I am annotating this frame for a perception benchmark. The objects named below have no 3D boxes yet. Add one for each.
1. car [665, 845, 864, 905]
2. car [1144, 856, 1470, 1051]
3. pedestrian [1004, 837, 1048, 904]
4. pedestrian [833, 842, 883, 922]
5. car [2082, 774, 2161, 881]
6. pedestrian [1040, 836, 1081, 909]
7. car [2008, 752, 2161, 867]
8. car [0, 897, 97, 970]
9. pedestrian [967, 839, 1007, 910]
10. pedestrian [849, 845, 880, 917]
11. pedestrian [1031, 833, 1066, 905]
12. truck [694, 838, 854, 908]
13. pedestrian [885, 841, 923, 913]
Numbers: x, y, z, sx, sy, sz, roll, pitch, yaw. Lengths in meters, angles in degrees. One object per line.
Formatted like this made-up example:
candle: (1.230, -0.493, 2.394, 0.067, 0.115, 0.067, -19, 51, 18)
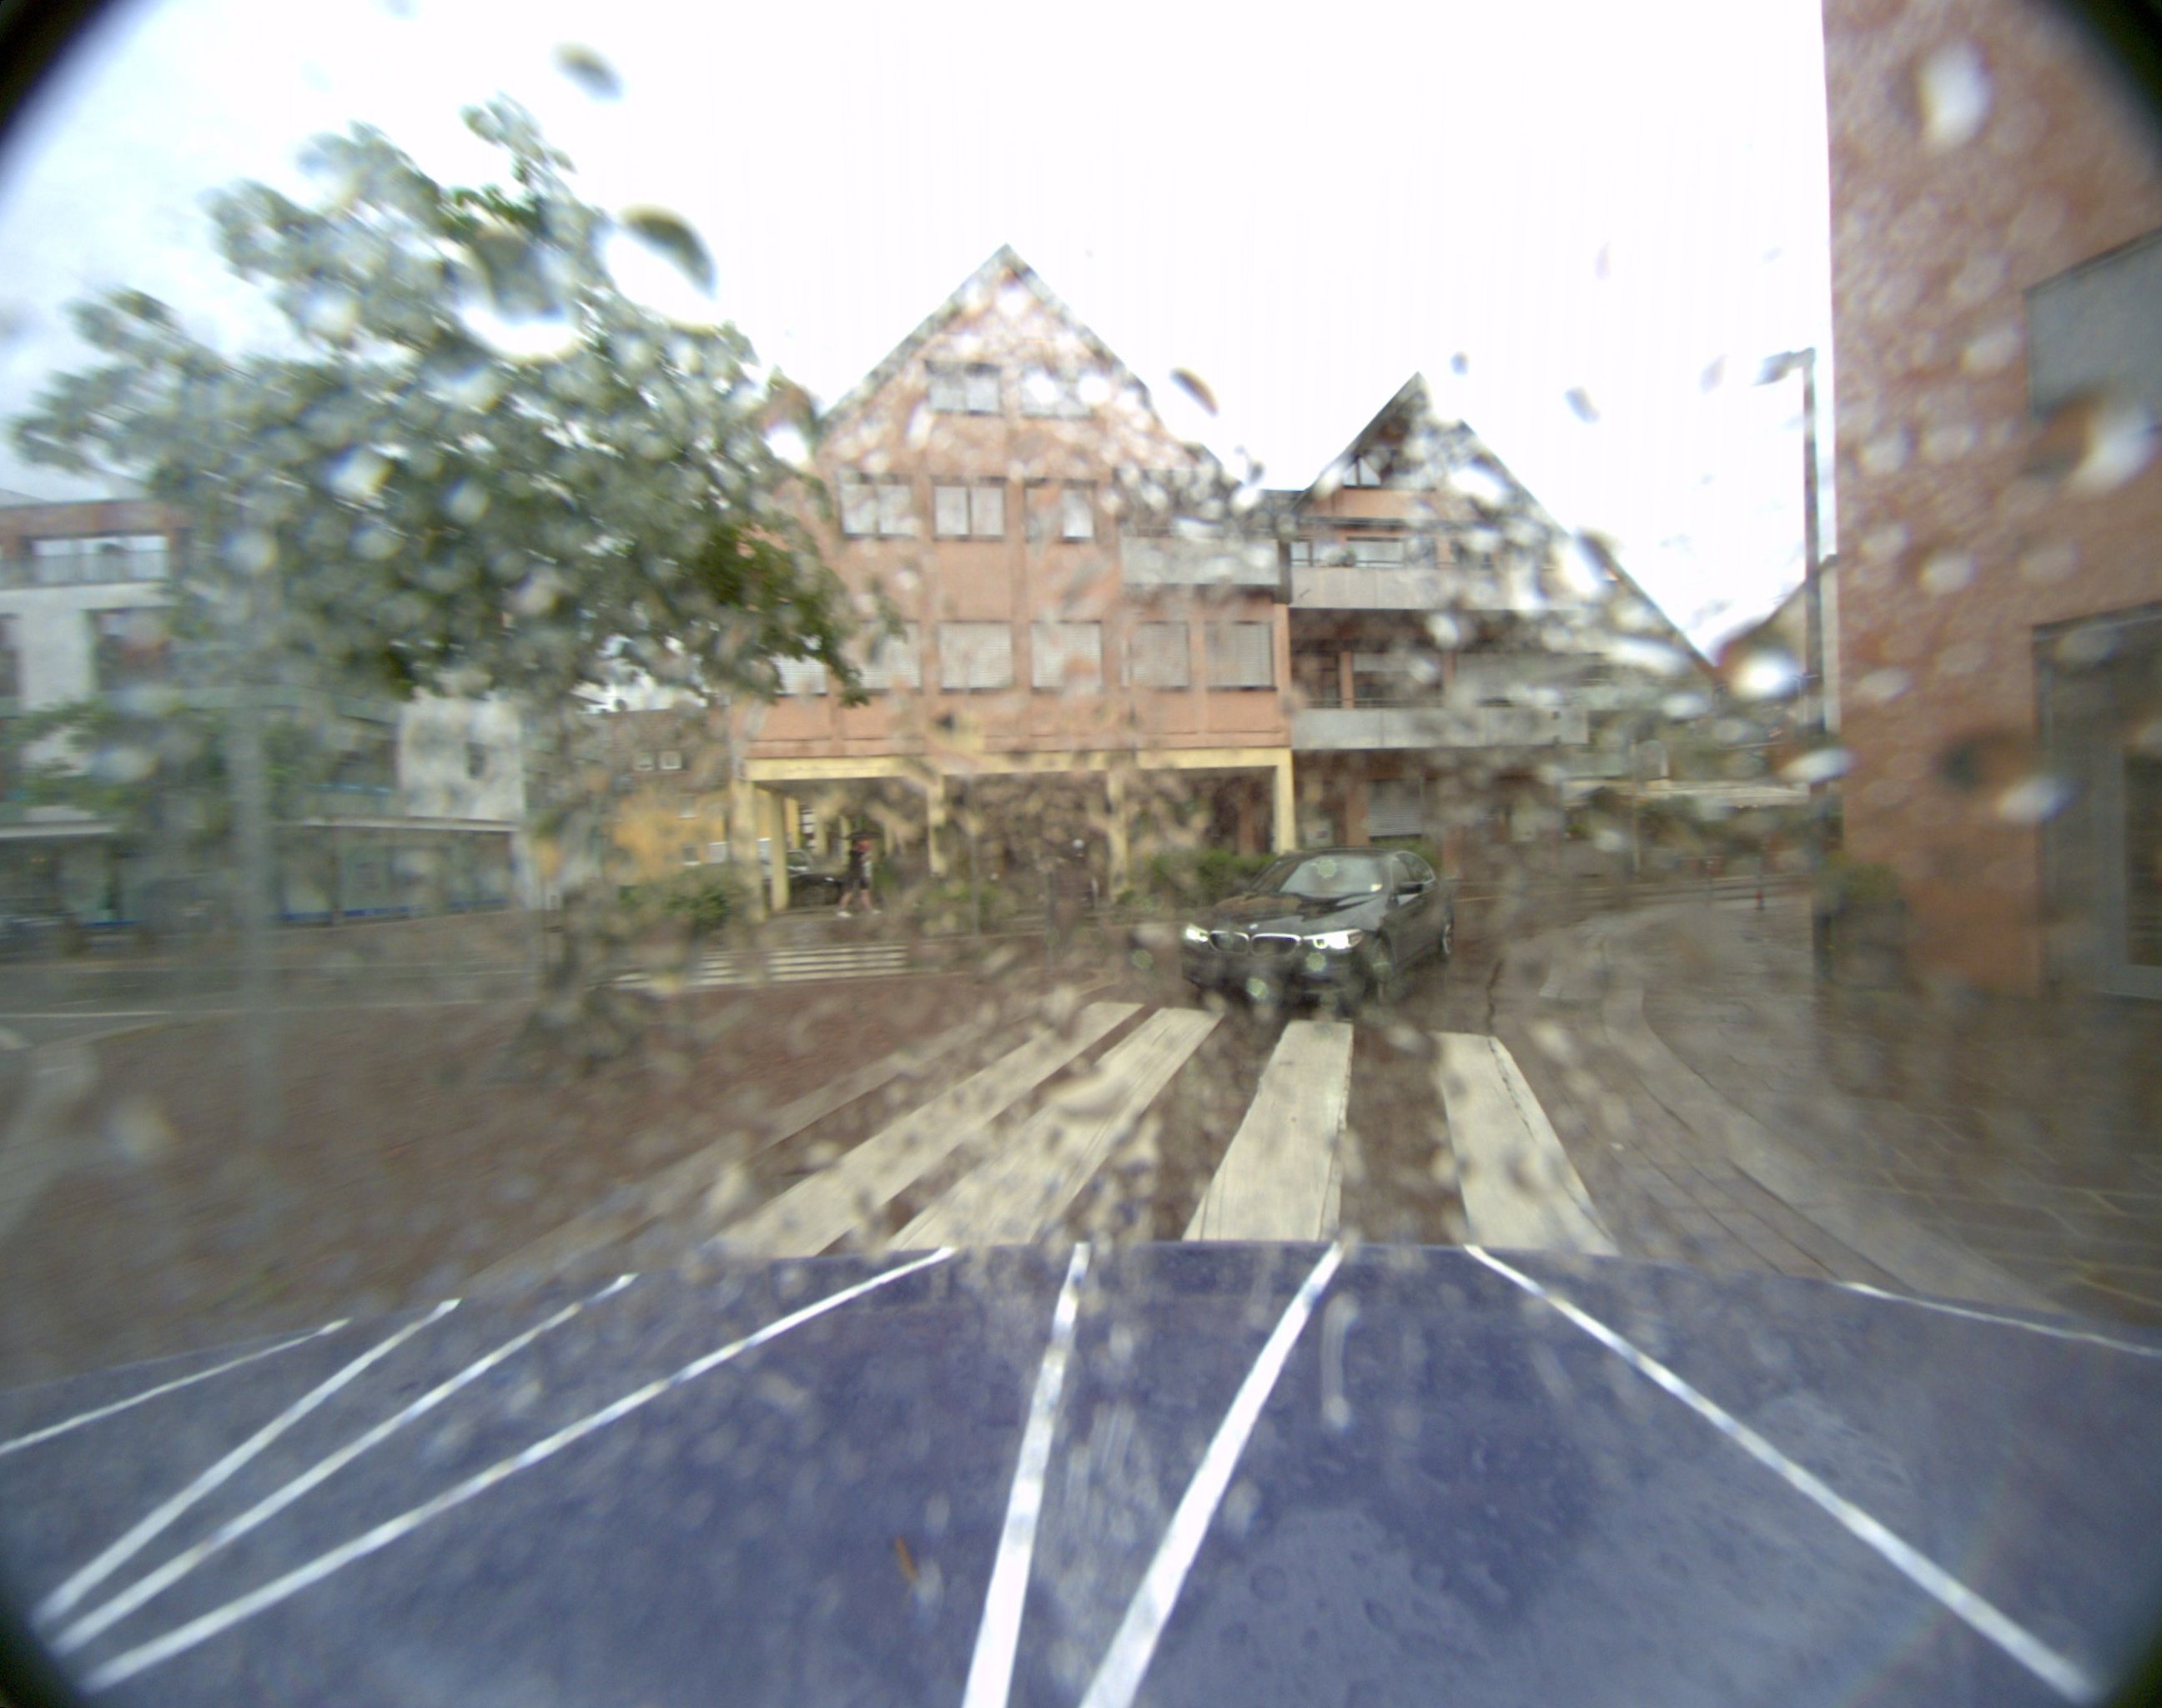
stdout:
car: (-8.217, 0.510, 20.107, 4.471, 1.268, 1.767, -3, 1, -8)
car: (2.747, 0.807, 8.429, 1.943, 1.394, 4.428, 1, 2, 38)
pedestrian: (-1.370, 0.407, 18.994, 0.706, 1.610, 0.798, -2, 2, 31)
pedestrian: (-5.040, 0.608, 17.233, 0.892, 1.739, 0.735, -3, 2, -8)
car: (25.279, -0.677, 16.499, 5.862, 2.227, 1.998, -3, 1, -12)
pedestrian: (-0.477, 0.417, 17.768, 0.821, 1.652, 0.698, -3, 2, -7)
car: (30.814, -1.246, 20.813, 8.844, 2.857, 2.710, -2, 1, -9)
car: (-23.891, 1.687, 16.408, 3.369, 1.354, 1.541, 0, 3, 4)
pedestrian: (-2.204, 0.470, 17.947, 0.825, 1.596, 0.744, -2, 4, -3)
pedestrian: (-5.106, 0.616, 17.943, 0.520, 1.654, 0.541, -3, 2, -6)
pedestrian: (-0.802, 0.346, 18.469, 0.733, 1.680, 0.724, -3, 2, -7)
truck: (-8.991, 0.508, 22.544, 3.999, 1.798, 1.767, -3, 1, -8)
pedestrian: (-4.270, 0.535, 18.403, 0.743, 1.680, 0.635, -3, 2, -7)
